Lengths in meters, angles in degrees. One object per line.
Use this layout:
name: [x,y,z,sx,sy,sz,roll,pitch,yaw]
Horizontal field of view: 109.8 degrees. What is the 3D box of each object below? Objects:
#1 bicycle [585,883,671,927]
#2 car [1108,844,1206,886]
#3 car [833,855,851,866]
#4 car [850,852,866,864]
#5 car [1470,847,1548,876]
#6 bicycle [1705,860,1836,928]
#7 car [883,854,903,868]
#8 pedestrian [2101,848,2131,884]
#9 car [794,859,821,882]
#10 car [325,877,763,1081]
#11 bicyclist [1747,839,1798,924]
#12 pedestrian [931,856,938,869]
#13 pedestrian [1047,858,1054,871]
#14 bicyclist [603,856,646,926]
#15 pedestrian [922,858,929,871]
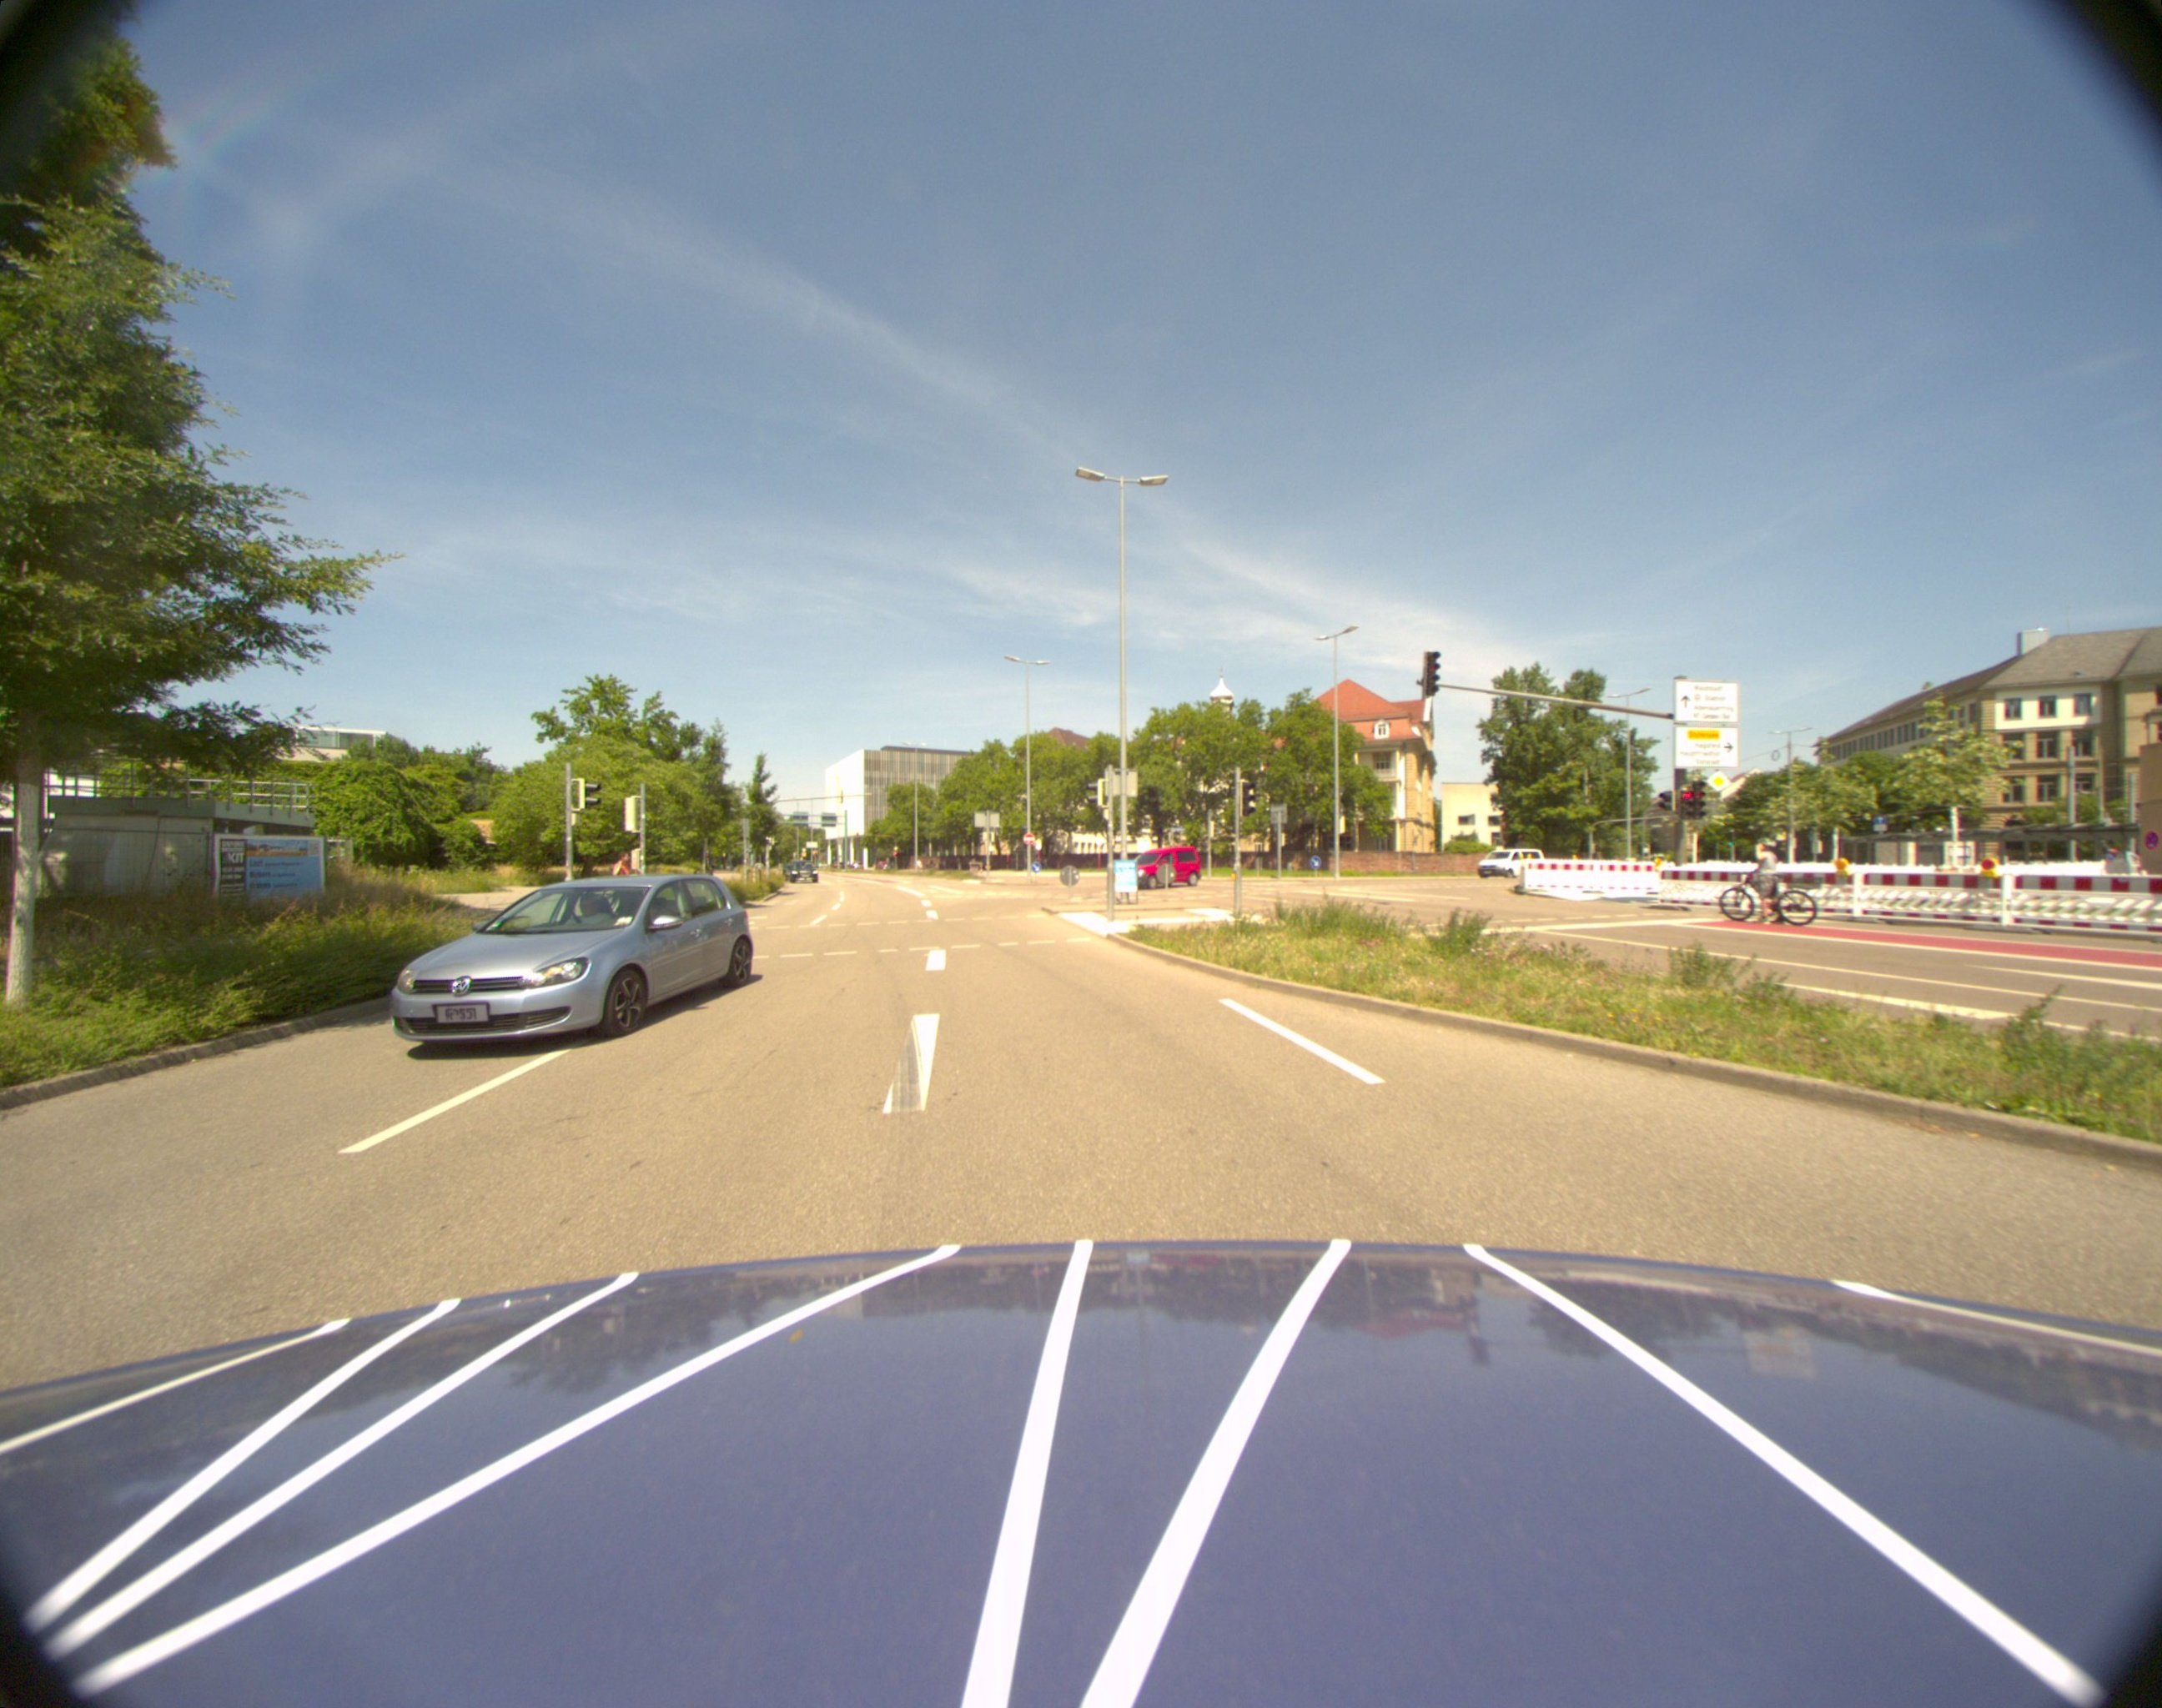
bicycle: [-11.309,1.266,18.964,1.993,1.039,0.559,0,-1,13]
car: [3.455,0.487,34.001,4.288,1.755,1.829,0,-2,-39]
car: [-37.293,1.048,118.541,1.781,1.658,3.992,0,-2,-29]
car: [-35.175,0.689,119.672,1.784,1.673,3.993,0,-2,-25]
car: [27.551,0.456,48.863,5.039,1.784,1.928,-1,0,-28]
bicycle: [13.060,0.714,14.473,0.524,1.174,1.896,-1,1,-11]
car: [-28.170,1.060,113.789,2.003,2.001,4.206,0,-2,-27]
pedestrian: [50.622,0.608,37.159,0.539,1.745,0.660,-2,-2,17]
car: [-20.602,1.246,57.125,1.711,1.576,4.549,-1,-2,-22]
car: [-5.048,1.040,7.972,1.832,1.406,3.993,-1,1,-2]
bicyclist: [13.069,0.513,14.369,0.531,1.570,0.498,-1,1,-11]
pedestrian: [-23.100,1.409,119.787,0.790,2.001,0.838,0,-2,-28]
pedestrian: [-3.966,1.345,98.951,0.525,1.710,0.590,-2,-2,38]
bicyclist: [-11.400,0.922,18.986,0.702,1.705,0.552,0,-1,13]
pedestrian: [-24.366,1.604,118.987,0.790,2.001,0.962,0,-2,-28]
